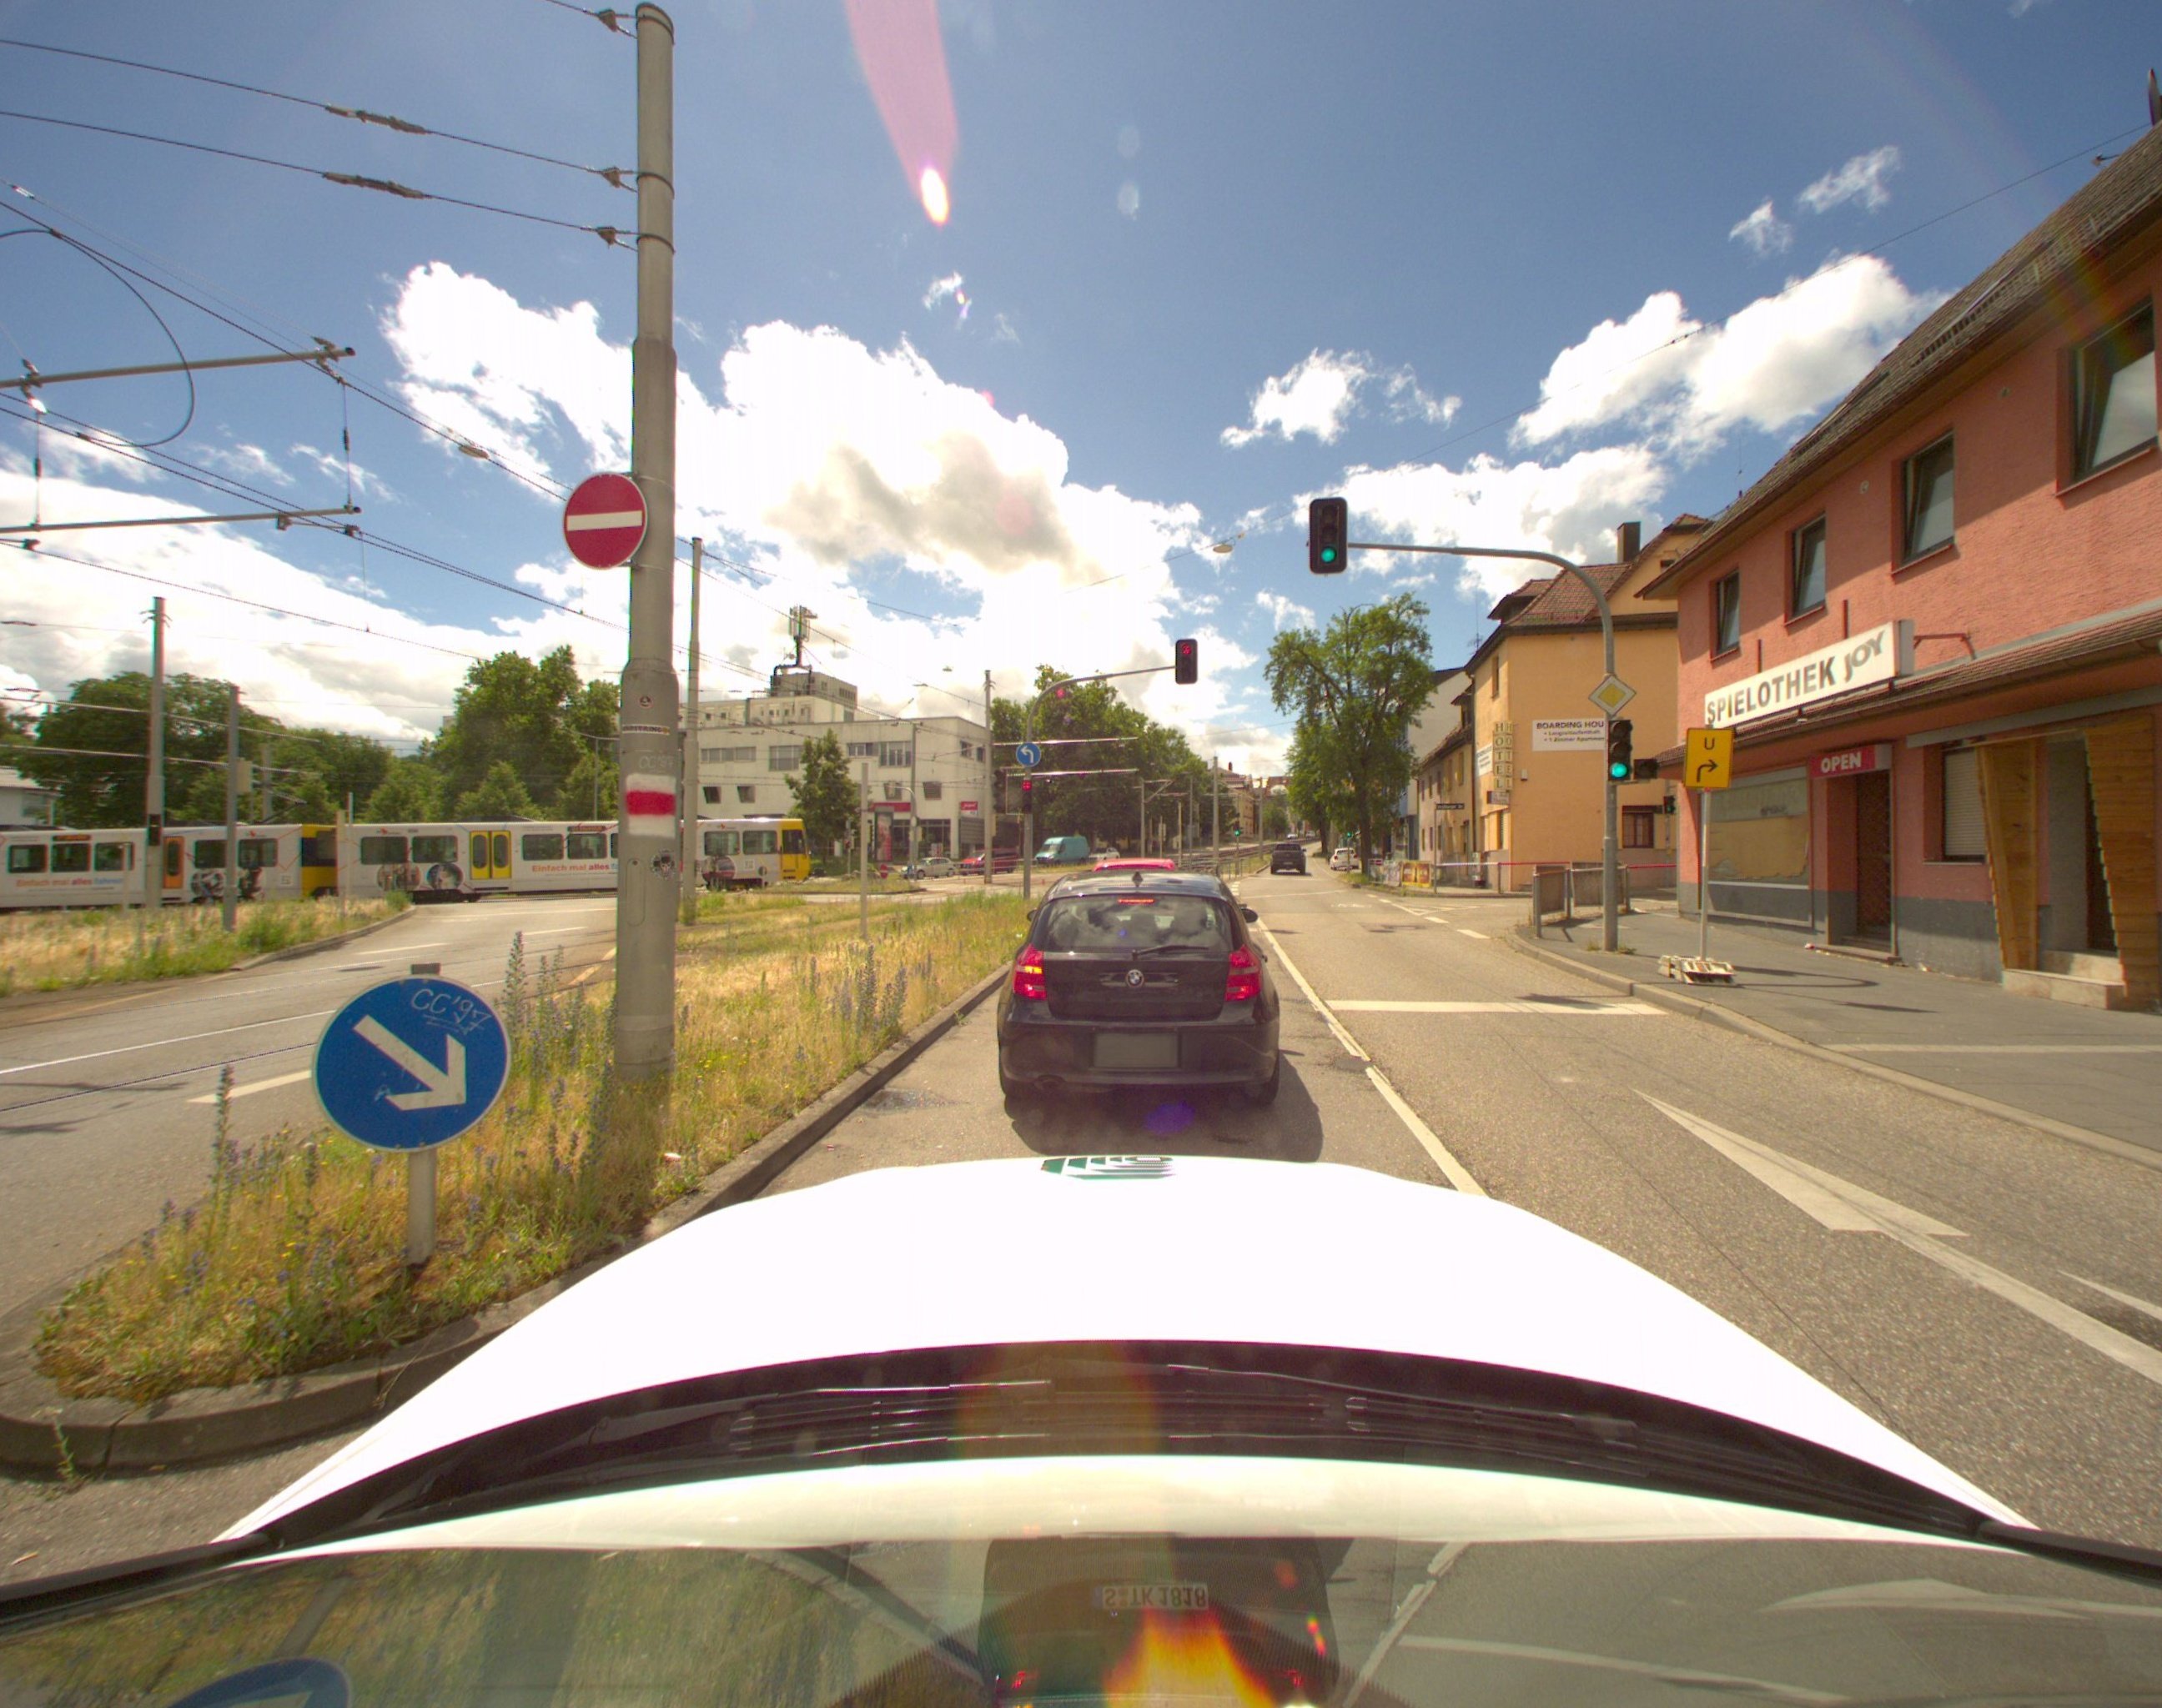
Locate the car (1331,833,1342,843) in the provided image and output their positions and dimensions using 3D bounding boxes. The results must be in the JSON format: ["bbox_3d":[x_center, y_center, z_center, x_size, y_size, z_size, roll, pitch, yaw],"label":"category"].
[{"bbox_3d":[50.020,-3.094,159.403,1.977,1.662,4.020,-2,-1,20],"label":"car"}]

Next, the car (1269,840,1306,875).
[{"bbox_3d":[12.401,0.226,48.839,1.984,1.887,5.170,-2,-1,15],"label":"car"}]

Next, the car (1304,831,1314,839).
[{"bbox_3d":[57.719,-4.760,206.012,1.976,2.014,4.022,-2,-1,23],"label":"car"}]

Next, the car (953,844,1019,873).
[{"bbox_3d":[-6.993,0.323,60.448,1.835,2.009,4.828,-3,-1,40],"label":"car"}]

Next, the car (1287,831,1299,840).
[{"bbox_3d":[48.679,-4.224,186.909,1.976,2.014,4.022,-2,-1,23],"label":"car"}]

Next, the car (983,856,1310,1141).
[{"bbox_3d":[0.339,0.792,6.318,1.696,1.452,3.999,-2,-1,0],"label":"car"}]

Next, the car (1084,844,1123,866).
[{"bbox_3d":[2.095,0.107,74.517,1.836,1.928,4.824,-2,-1,24],"label":"car"}]

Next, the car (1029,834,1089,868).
[{"bbox_3d":[-1.766,-0.235,67.987,2.110,2.654,5.726,-2,-1,32],"label":"car"}]

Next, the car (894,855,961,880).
[{"bbox_3d":[-10.517,0.904,56.048,1.835,1.585,4.195,-3,-1,43],"label":"car"}]

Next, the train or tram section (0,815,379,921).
[{"bbox_3d":[-41.425,0.697,34.055,20.507,3.879,3.760,-2,-1,-1],"label":"train or tram section"}]

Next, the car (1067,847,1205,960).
[{"bbox_3d":[1.024,0.690,12.874,1.614,1.473,4.012,-2,-1,11],"label":"car"}]

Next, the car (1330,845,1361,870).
[{"bbox_3d":[18.034,0.224,55.660,1.774,1.596,4.016,-2,-1,15],"label":"car"}]

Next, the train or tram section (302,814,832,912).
[{"bbox_3d":[-22.152,0.210,37.713,20.065,3.814,3.734,-1,-1,-22],"label":"train or tram section"}]
